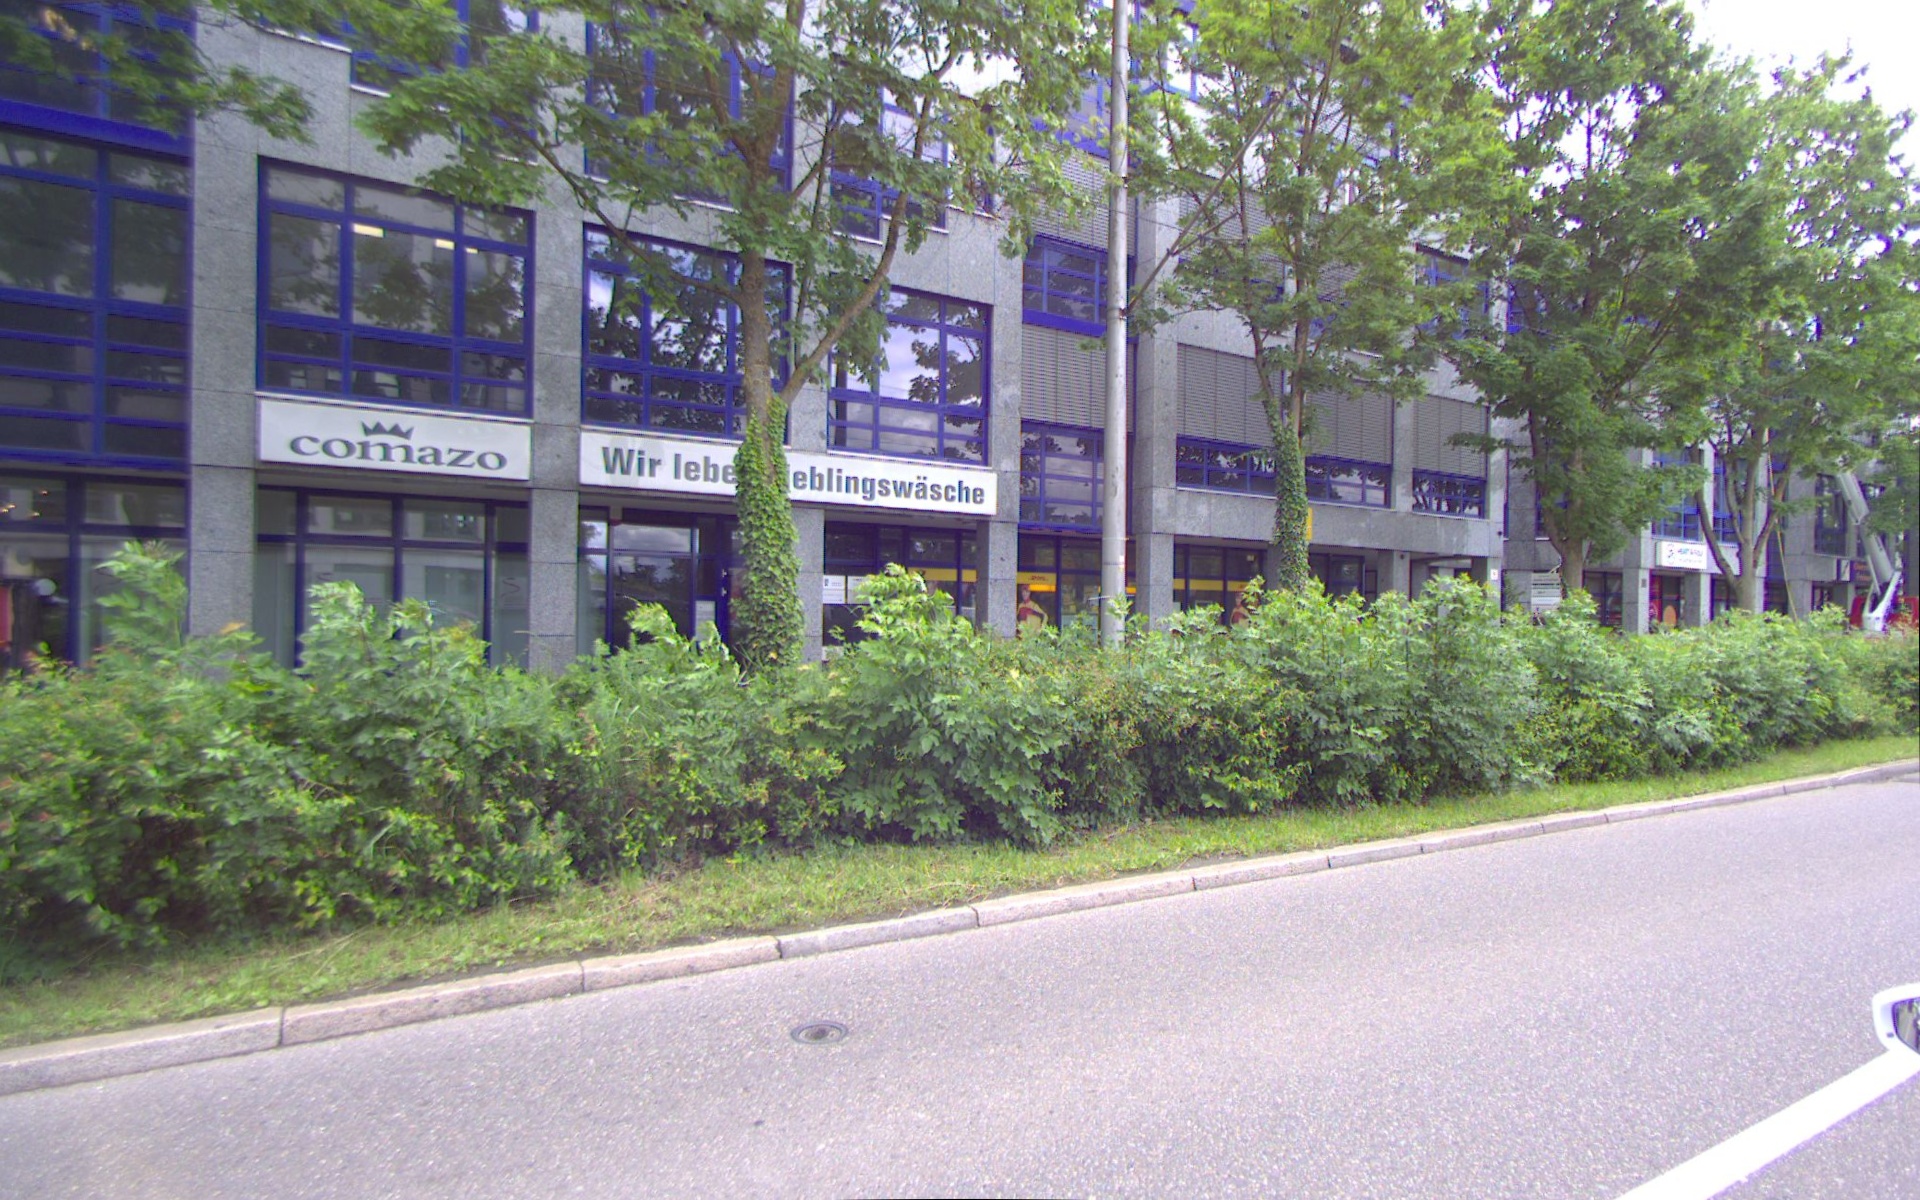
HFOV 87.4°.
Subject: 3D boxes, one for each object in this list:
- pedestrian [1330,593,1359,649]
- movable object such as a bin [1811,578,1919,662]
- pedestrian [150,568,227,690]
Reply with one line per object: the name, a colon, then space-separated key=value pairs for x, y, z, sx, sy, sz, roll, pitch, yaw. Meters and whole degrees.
pedestrian: x=9.494 y=0.517 z=24.829 sx=0.552 sy=1.352 sz=0.362 roll=0 pitch=3 yaw=-35
movable object such as a bin: x=29.765 y=0.633 z=32.692 sx=4.080 sy=2.565 sz=1.895 roll=1 pitch=1 yaw=-31
pedestrian: x=-9.845 y=0.358 z=12.833 sx=0.671 sy=1.502 sz=0.694 roll=1 pitch=1 yaw=-30
